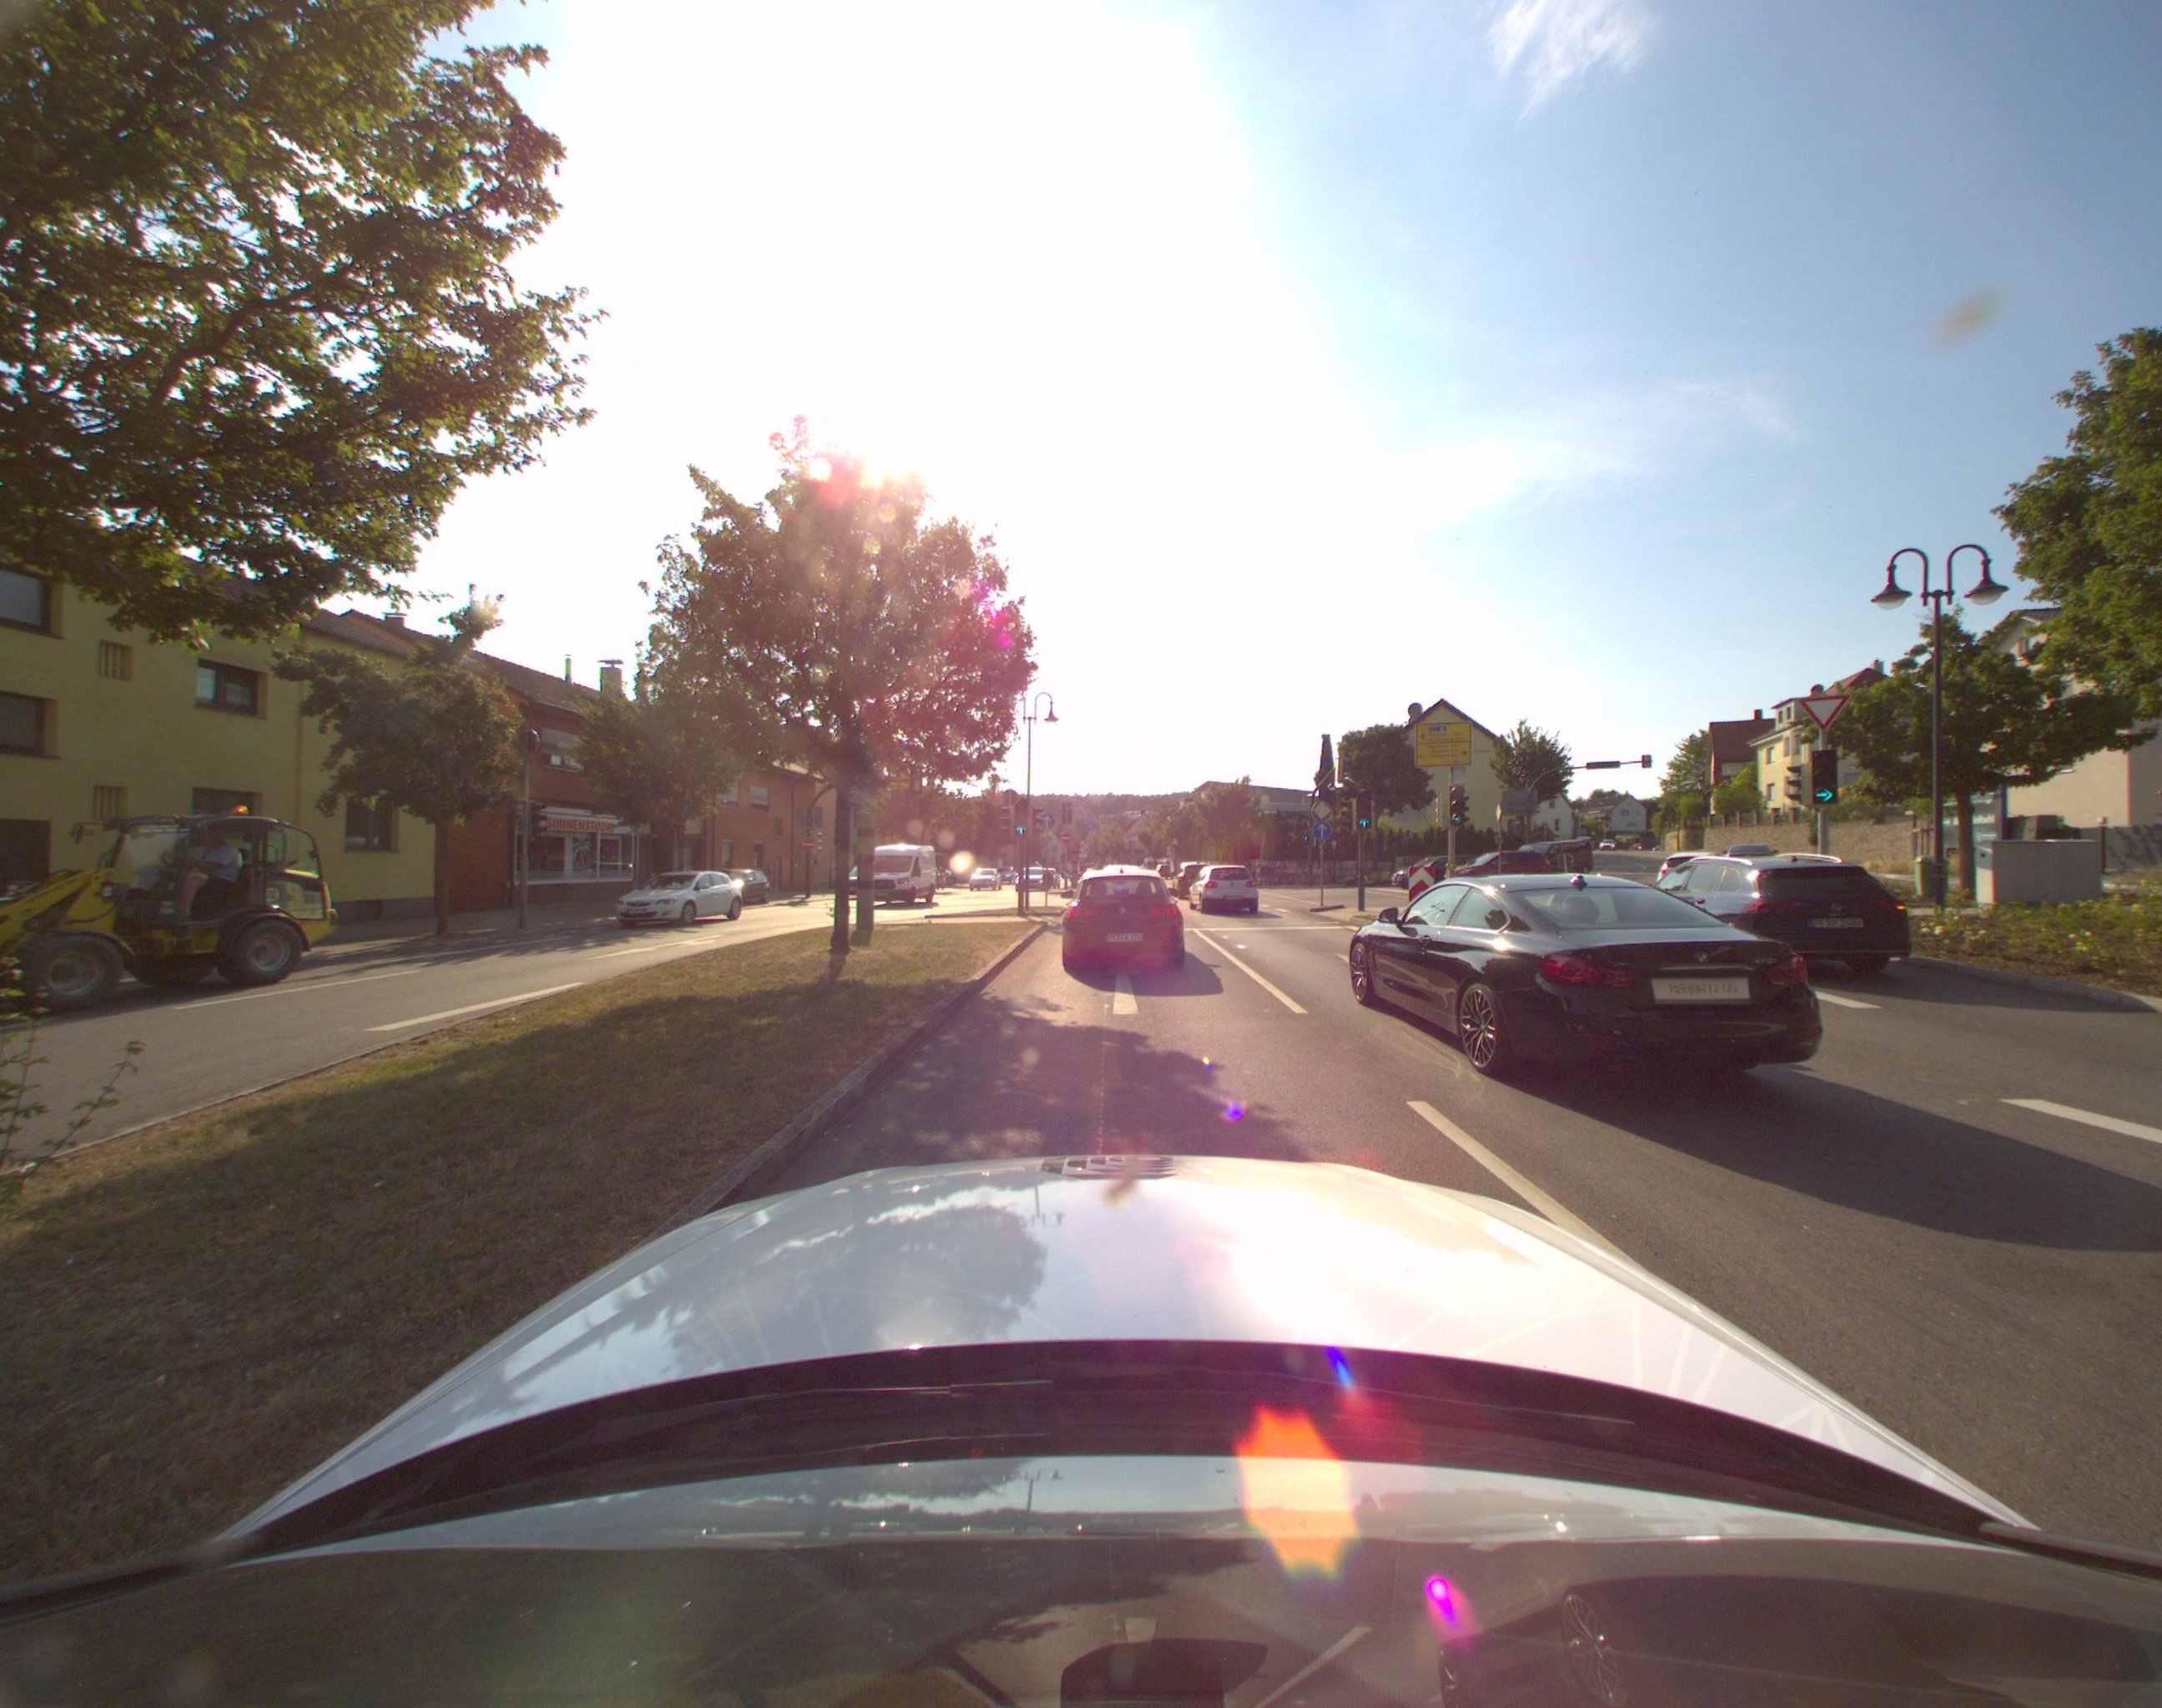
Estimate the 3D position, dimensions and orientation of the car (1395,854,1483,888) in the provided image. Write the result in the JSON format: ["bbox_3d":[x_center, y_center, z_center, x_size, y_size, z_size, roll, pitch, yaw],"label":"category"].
[{"bbox_3d":[16.999,0.815,38.843,3.754,1.542,1.607,-1,-1,21],"label":"car"}]

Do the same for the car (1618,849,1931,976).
[{"bbox_3d":[9.154,0.666,11.265,1.617,1.410,4.296,-1,0,16],"label":"car"}]

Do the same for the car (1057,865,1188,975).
[{"bbox_3d":[0.615,0.915,12.805,1.765,1.456,3.517,0,0,2],"label":"car"}]

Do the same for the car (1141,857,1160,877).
[{"bbox_3d":[10.052,1.844,117.937,2.143,2.681,6.600,-1,-1,-1],"label":"car"}]

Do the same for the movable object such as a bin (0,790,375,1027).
[{"bbox_3d":[-11.866,0.581,10.149,1.546,2.462,4.983,0,-1,4],"label":"movable object such as a bin"}]

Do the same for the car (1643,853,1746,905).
[{"bbox_3d":[19.421,0.751,25.730,4.022,1.494,1.845,0,-1,-42],"label":"car"}]

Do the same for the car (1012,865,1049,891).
[{"bbox_3d":[-3.134,1.490,51.011,1.828,1.488,4.568,-1,-1,2],"label":"car"}]

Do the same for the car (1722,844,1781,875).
[{"bbox_3d":[30.224,0.252,36.803,1.794,1.344,4.025,-1,-1,36],"label":"car"}]

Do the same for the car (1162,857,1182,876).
[{"bbox_3d":[13.147,1.823,118.307,2.105,2.722,6.439,-1,-1,-1],"label":"car"}]

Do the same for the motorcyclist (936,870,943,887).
[{"bbox_3d":[-10.182,1.737,58.662,0.401,1.229,0.462,-1,-1,3],"label":"motorcyclist"}]

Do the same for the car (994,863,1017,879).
[{"bbox_3d":[-7.733,1.745,83.681,1.679,1.612,4.415,-1,-1,2],"label":"car"}]

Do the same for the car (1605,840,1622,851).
[{"bbox_3d":[73.818,-1.171,112.799,1.794,1.344,4.025,-1,-1,36],"label":"car"}]

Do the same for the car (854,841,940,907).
[{"bbox_3d":[-7.438,0.766,33.546,2.076,2.476,5.482,-1,-1,2],"label":"car"}]

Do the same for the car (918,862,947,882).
[{"bbox_3d":[-11.901,1.399,65.566,1.506,1.510,3.886,1,0,1],"label":"car"}]

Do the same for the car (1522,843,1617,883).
[{"bbox_3d":[24.765,0.433,41.222,5.197,1.932,1.980,0,-1,-32],"label":"car"}]

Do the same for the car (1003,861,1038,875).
[{"bbox_3d":[-10.953,2.591,148.505,6.138,2.445,2.249,0,-1,0],"label":"car"}]

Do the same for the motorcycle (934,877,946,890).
[{"bbox_3d":[-10.155,2.141,58.723,0.410,0.860,1.764,-1,-1,3],"label":"motorcycle"}]

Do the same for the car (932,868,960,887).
[{"bbox_3d":[-11.338,1.986,68.829,1.613,1.510,4.133,-1,-1,1],"label":"car"}]

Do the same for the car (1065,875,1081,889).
[{"bbox_3d":[-0.830,3.025,88.307,1.526,1.462,3.509,-1,-1,3],"label":"car"}]

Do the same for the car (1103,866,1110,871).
[{"bbox_3d":[6.676,3.790,212.928,1.592,1.485,3.473,0,-1,-1],"label":"car"}]

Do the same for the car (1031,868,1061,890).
[{"bbox_3d":[-2.397,1.710,56.548,1.582,1.427,3.582,-1,-1,5],"label":"car"}]

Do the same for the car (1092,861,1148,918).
[{"bbox_3d":[1.255,1.045,25.305,1.585,1.600,3.897,-1,-1,4],"label":"car"}]

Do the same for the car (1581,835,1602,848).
[{"bbox_3d":[58.639,-1.407,93.487,1.794,1.344,4.025,-1,-1,36],"label":"car"}]

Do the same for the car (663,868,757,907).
[{"bbox_3d":[-14.838,1.313,32.807,1.788,1.414,3.945,0,-1,3],"label":"car"}]

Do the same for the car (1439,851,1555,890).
[{"bbox_3d":[18.250,0.708,35.845,4.230,1.626,1.859,-1,-1,-4],"label":"car"}]

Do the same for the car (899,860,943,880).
[{"bbox_3d":[-15.794,1.614,80.550,3.804,1.881,1.781,1,-1,4],"label":"car"}]

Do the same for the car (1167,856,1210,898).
[{"bbox_3d":[4.753,1.005,36.297,1.596,1.767,3.413,-1,-1,3],"label":"car"}]

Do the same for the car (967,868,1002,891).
[{"bbox_3d":[-6.462,1.697,55.030,1.750,1.411,4.001,-1,-1,2],"label":"car"}]

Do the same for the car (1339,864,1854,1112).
[{"bbox_3d":[3.660,0.806,6.852,1.693,1.369,4.263,-1,0,1],"label":"car"}]

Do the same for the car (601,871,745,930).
[{"bbox_3d":[-11.253,1.236,22.831,1.684,1.414,4.217,-1,-1,3],"label":"car"}]

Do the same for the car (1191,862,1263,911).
[{"bbox_3d":[4.528,0.966,25.713,1.747,1.414,3.423,-1,-1,2],"label":"car"}]
